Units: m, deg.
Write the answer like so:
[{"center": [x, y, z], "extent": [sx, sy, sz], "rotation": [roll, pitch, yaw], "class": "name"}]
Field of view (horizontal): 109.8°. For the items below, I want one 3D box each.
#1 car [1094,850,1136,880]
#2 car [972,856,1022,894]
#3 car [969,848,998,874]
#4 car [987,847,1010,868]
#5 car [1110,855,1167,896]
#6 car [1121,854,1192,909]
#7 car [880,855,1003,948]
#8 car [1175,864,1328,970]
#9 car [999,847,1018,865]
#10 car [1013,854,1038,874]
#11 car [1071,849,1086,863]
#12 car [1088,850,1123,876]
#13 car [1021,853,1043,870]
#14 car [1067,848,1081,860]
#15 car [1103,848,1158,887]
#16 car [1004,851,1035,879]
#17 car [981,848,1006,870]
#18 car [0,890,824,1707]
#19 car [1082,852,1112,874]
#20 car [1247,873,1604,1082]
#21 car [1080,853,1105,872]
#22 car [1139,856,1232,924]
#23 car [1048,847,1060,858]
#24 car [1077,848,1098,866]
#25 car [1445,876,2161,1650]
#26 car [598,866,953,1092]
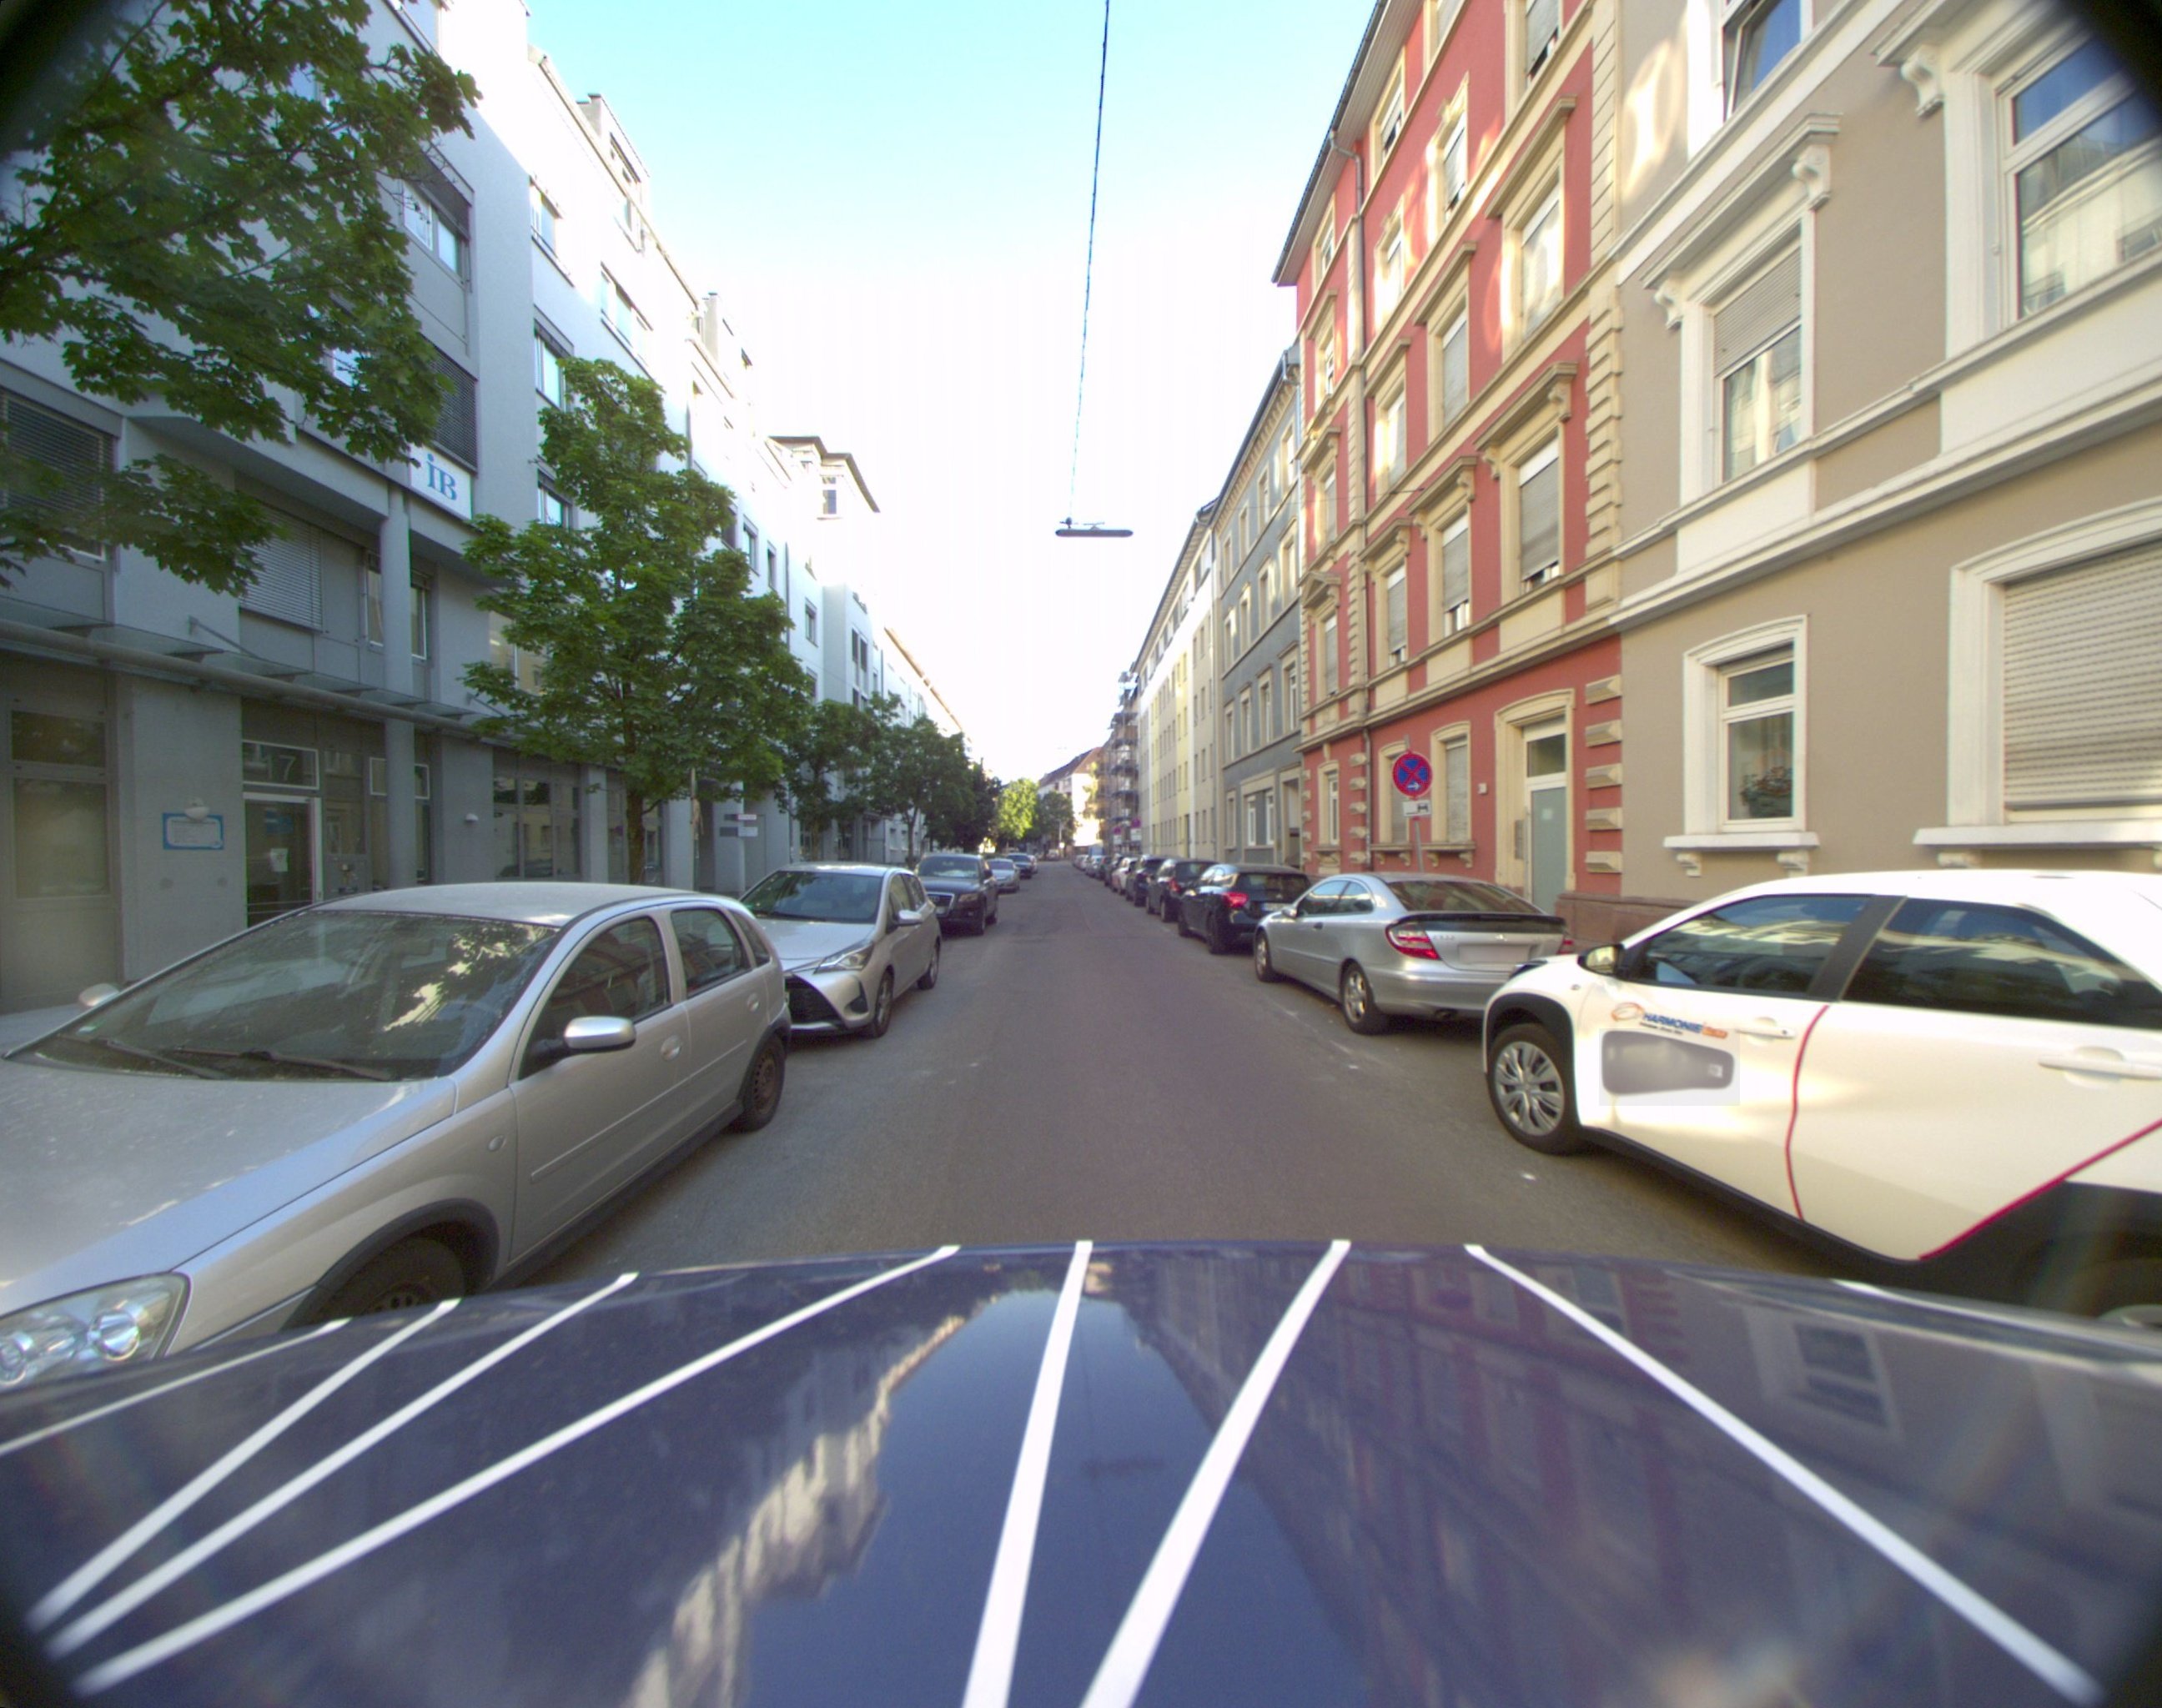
[{"center": [1.981, 0.611, 45.208], "extent": [1.999, 1.576, 4.492], "rotation": [-1, 1, -3], "class": "car"}, {"center": [-3.569, 0.862, 32.909], "extent": [1.856, 1.480, 3.998], "rotation": [-1, 0, -3], "class": "car"}, {"center": [-7.898, 0.518, 61.937], "extent": [1.999, 2.002, 3.998], "rotation": [-1, 0, -3], "class": "car"}, {"center": [-8.250, 0.323, 75.921], "extent": [1.999, 2.002, 3.998], "rotation": [-1, 0, -3], "class": "car"}, {"center": [2.196, 0.798, 30.174], "extent": [1.662, 1.420, 4.351], "rotation": [-1, 1, -4], "class": "car"}, {"center": [2.303, 0.786, 24.240], "extent": [1.598, 1.513, 4.428], "rotation": [-1, 1, -3], "class": "car"}, {"center": [-2.879, 0.910, 16.677], "extent": [1.863, 1.679, 4.389], "rotation": [-1, 0, 0], "class": "car"}, {"center": [2.745, 0.958, 13.111], "extent": [1.589, 1.407, 3.911], "rotation": [3, 0, -2], "class": "car"}, {"center": [-8.406, 0.182, 88.644], "extent": [1.999, 2.002, 3.998], "rotation": [-1, 0, -3], "class": "car"}, {"center": [-4.450, 0.752, 61.837], "extent": [1.903, 1.510, 4.222], "rotation": [-1, 0, -3], "class": "car"}, {"center": [-0.352, 0.205, 102.569], "extent": [1.999, 1.783, 3.999], "rotation": [-1, 0, -2], "class": "car"}, {"center": [1.559, 0.572, 49.896], "extent": [1.999, 1.566, 4.148], "rotation": [-1, 0, -2], "class": "car"}, {"center": [-4.465, 0.659, 69.595], "extent": [1.856, 1.480, 3.998], "rotation": [-1, 0, -3], "class": "car"}, {"center": [-1.107, 0.011, 120.170], "extent": [1.999, 1.783, 3.999], "rotation": [-1, 0, -2], "class": "car"}, {"center": [2.202, 0.572, 35.289], "extent": [1.999, 1.640, 4.492], "rotation": [-1, 1, -3], "class": "car"}, {"center": [-3.975, 0.672, 49.385], "extent": [1.856, 1.649, 3.998], "rotation": [-1, 0, -4], "class": "car"}, {"center": [-8.179, 0.420, 71.432], "extent": [1.999, 2.002, 3.998], "rotation": [-1, 0, -3], "class": "car"}, {"center": [-2.624, 0.997, 3.176], "extent": [1.638, 1.439, 4.066], "rotation": [-1, 0, 1], "class": "car"}, {"center": [1.115, 0.640, 55.174], "extent": [1.999, 1.437, 3.999], "rotation": [-1, 0, -2], "class": "car"}, {"center": [3.050, 0.991, 7.725], "extent": [1.614, 1.420, 3.960], "rotation": [2, 1, -3], "class": "car"}, {"center": [1.022, 0.743, 70.057], "extent": [1.999, 1.576, 4.492], "rotation": [-1, 1, -3], "class": "car"}, {"center": [2.523, 0.818, 19.235], "extent": [1.537, 1.490, 4.194], "rotation": [1, 1, -3], "class": "car"}, {"center": [-4.729, -0.305, 132.587], "extent": [1.999, 1.783, 3.999], "rotation": [-1, 0, -2], "class": "car"}, {"center": [0.663, 0.314, 80.294], "extent": [1.999, 1.783, 3.999], "rotation": [-1, 0, -2], "class": "car"}, {"center": [3.119, 0.937, 2.730], "extent": [1.688, 1.487, 3.843], "rotation": [3, 1, 0], "class": "car"}, {"center": [-2.641, 0.976, 7.727], "extent": [1.913, 1.576, 4.000], "rotation": [-1, 0, 1], "class": "car"}]
